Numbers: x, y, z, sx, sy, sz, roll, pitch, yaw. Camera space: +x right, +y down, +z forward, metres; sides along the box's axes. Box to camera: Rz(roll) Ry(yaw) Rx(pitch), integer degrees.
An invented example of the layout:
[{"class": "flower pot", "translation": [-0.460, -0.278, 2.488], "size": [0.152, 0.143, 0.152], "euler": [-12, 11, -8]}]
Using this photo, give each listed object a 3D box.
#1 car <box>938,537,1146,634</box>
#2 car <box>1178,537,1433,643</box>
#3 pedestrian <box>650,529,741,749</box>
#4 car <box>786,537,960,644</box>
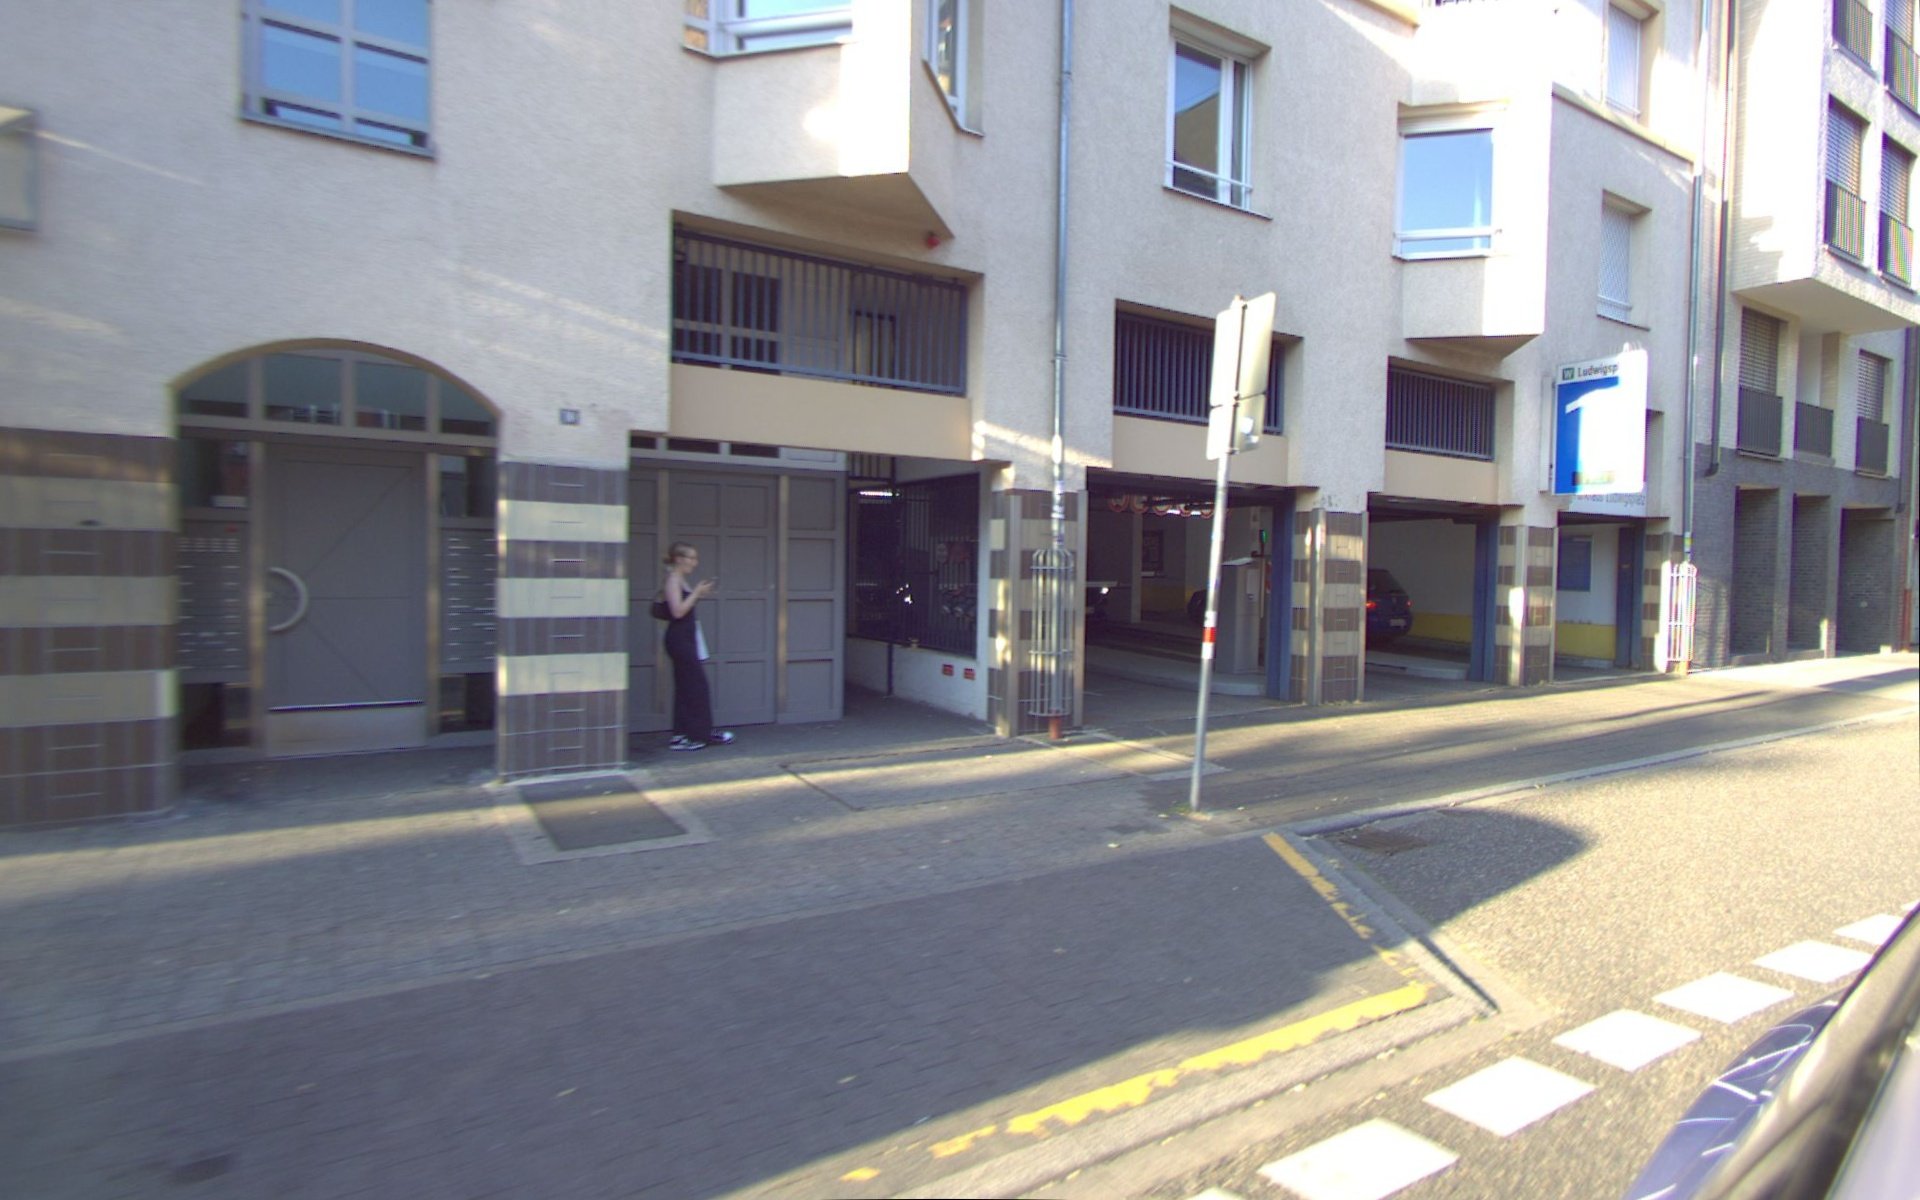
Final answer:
[{"class": "car", "translation": [1.436, -0.353, 19.426], "size": [1.853, 1.644, 4.306], "euler": [0, 3, -30]}, {"class": "car", "translation": [6.067, -0.271, 18.231], "size": [1.661, 1.581, 4.122], "euler": [-1, 5, -34]}, {"class": "pedestrian", "translation": [-1.991, 0.270, 7.691], "size": [0.523, 1.592, 0.779], "euler": [1, 2, -4]}, {"class": "car", "translation": [-1.639, -0.280, 17.466], "size": [1.781, 1.592, 4.261], "euler": [-1, 4, -23]}]
